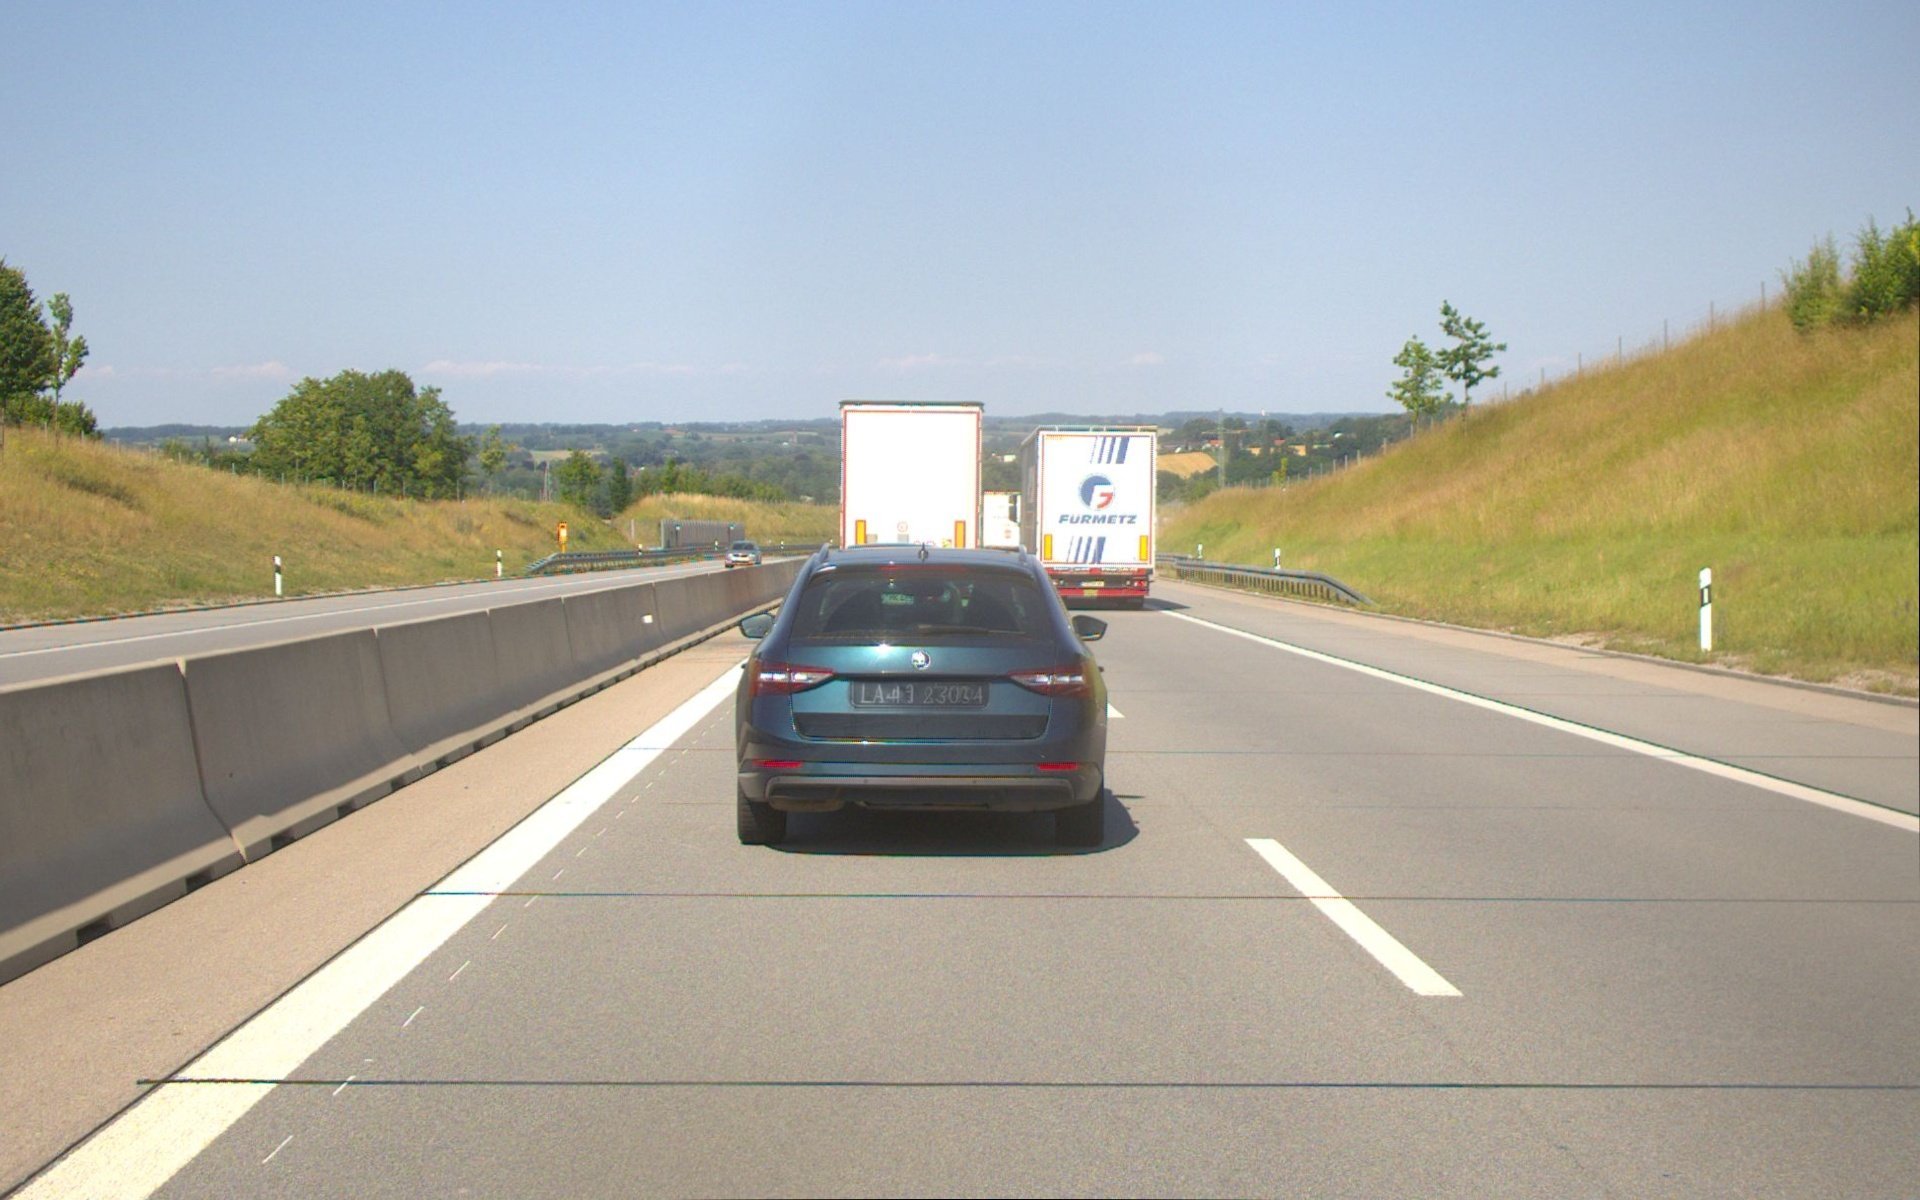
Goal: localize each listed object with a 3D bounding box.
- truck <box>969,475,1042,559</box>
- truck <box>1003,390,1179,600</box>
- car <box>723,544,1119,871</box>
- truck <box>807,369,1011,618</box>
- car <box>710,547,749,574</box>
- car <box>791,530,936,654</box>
[{"bbox_3d":[2.542,-4.544,188.062,3.604,4.366,11.233,-2,1,2],"label":"truck"},{"bbox_3d":[2.993,-2.365,78.963,3.604,4.366,11.233,-2,1,2],"label":"truck"},{"bbox_3d":[-0.228,0.457,17.488,1.776,1.436,3.789,-1,1,-2],"label":"car"},{"bbox_3d":[-0.833,-2.044,67.477,3.211,4.366,11.233,-2,1,2],"label":"truck"},{"bbox_3d":[-12.642,-2.176,188.719,1.803,1.466,4.527,0,1,0],"label":"car"},{"bbox_3d":[-1.225,-0.138,43.634,1.700,1.436,4.000,-2,1,-2],"label":"car"}]
